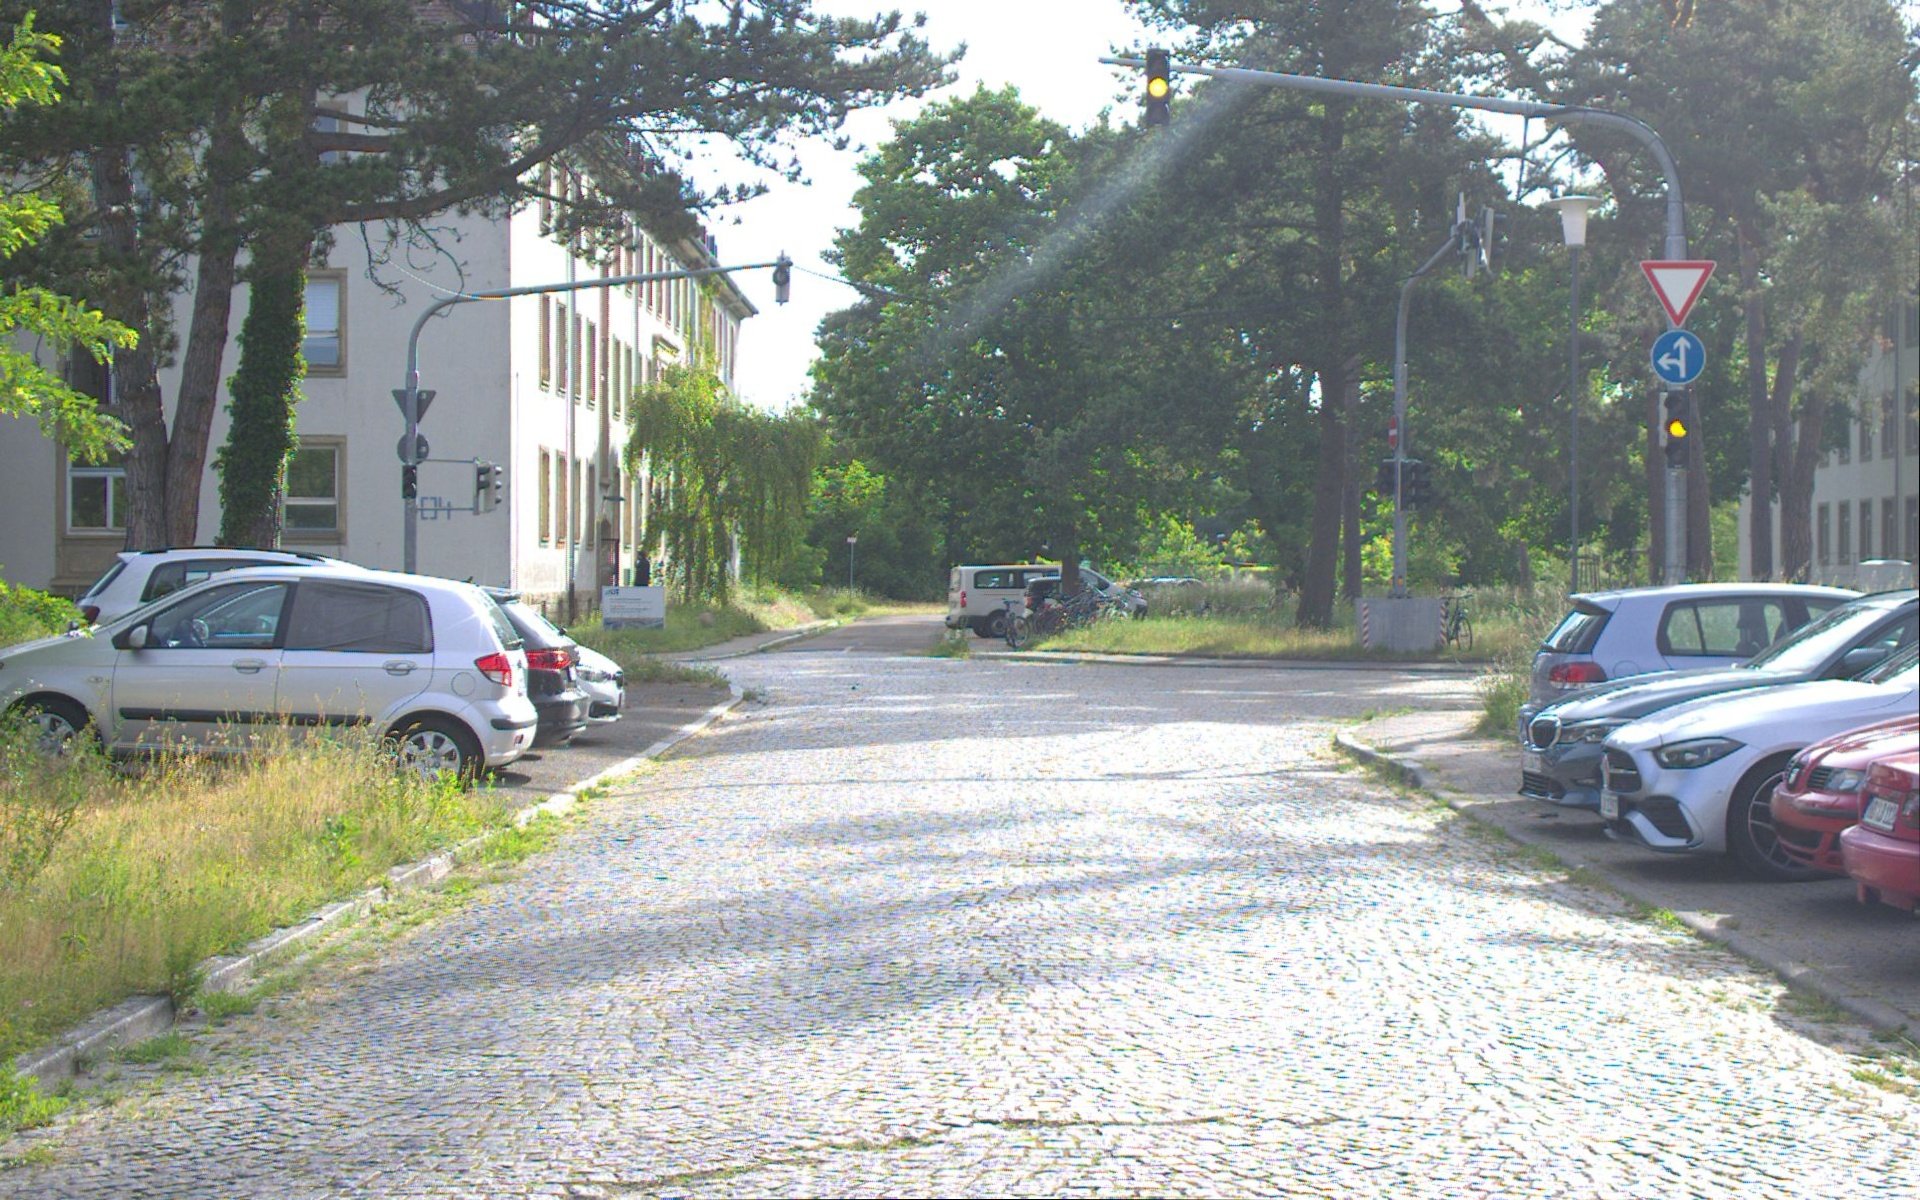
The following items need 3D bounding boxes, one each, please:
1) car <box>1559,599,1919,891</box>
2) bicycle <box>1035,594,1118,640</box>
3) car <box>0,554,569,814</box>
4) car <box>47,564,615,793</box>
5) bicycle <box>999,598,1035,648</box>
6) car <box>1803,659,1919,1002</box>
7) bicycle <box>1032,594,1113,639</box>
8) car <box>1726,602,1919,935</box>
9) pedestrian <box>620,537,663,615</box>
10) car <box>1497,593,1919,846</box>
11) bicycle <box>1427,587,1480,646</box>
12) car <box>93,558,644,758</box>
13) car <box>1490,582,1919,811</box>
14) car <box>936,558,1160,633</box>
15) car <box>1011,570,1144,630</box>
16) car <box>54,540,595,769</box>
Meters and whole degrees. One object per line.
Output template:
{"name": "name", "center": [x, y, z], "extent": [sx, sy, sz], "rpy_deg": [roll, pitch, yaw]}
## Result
{"name": "car", "center": [5.611, 0.731, 18.322], "extent": [4.506, 1.468, 1.849], "rpy_deg": [0, 0, 0]}
{"name": "bicycle", "center": [2.567, 0.372, 75.870], "extent": [1.793, 0.995, 0.644], "rpy_deg": [0, 1, -1]}
{"name": "car", "center": [-4.579, 0.535, 22.956], "extent": [3.683, 1.468, 1.850], "rpy_deg": [3, 0, -1]}
{"name": "car", "center": [-4.608, 0.563, 25.612], "extent": [3.828, 1.424, 1.859], "rpy_deg": [3, 0, 0]}
{"name": "bicycle", "center": [1.182, 0.467, 71.277], "extent": [0.728, 0.995, 1.799], "rpy_deg": [0, 1, 0]}
{"name": "car", "center": [5.539, 0.869, 13.675], "extent": [3.951, 1.256, 1.726], "rpy_deg": [0, 0, 1]}
{"name": "bicycle", "center": [2.536, 0.373, 77.371], "extent": [1.793, 0.995, 0.644], "rpy_deg": [0, 1, -1]}
{"name": "car", "center": [5.941, 0.739, 16.048], "extent": [4.341, 1.468, 1.740], "rpy_deg": [0, 0, 0]}
{"name": "pedestrian", "center": [-8.079, -0.599, 87.323], "extent": [0.985, 1.957, 0.932], "rpy_deg": [1, 0, 0]}
{"name": "car", "center": [5.732, 0.694, 21.100], "extent": [4.506, 1.468, 1.895], "rpy_deg": [0, 0, -3]}
{"name": "bicycle", "center": [8.692, 0.281, 60.604], "extent": [0.562, 0.995, 1.752], "rpy_deg": [0, 1, -4]}
{"name": "car", "center": [-5.230, 0.496, 30.856], "extent": [4.587, 1.450, 1.903], "rpy_deg": [3, 2, -2]}
{"name": "car", "center": [6.093, 0.637, 23.721], "extent": [4.543, 1.500, 1.933], "rpy_deg": [0, 0, -1]}
{"name": "car", "center": [2.311, -0.112, 90.788], "extent": [5.499, 1.909, 2.255], "rpy_deg": [1, 0, -13]}
{"name": "car", "center": [2.968, 0.016, 87.215], "extent": [3.031, 1.460, 1.720], "rpy_deg": [1, -1, -12]}
{"name": "car", "center": [-5.146, 0.436, 28.312], "extent": [4.121, 1.594, 1.859], "rpy_deg": [3, 0, -4]}
